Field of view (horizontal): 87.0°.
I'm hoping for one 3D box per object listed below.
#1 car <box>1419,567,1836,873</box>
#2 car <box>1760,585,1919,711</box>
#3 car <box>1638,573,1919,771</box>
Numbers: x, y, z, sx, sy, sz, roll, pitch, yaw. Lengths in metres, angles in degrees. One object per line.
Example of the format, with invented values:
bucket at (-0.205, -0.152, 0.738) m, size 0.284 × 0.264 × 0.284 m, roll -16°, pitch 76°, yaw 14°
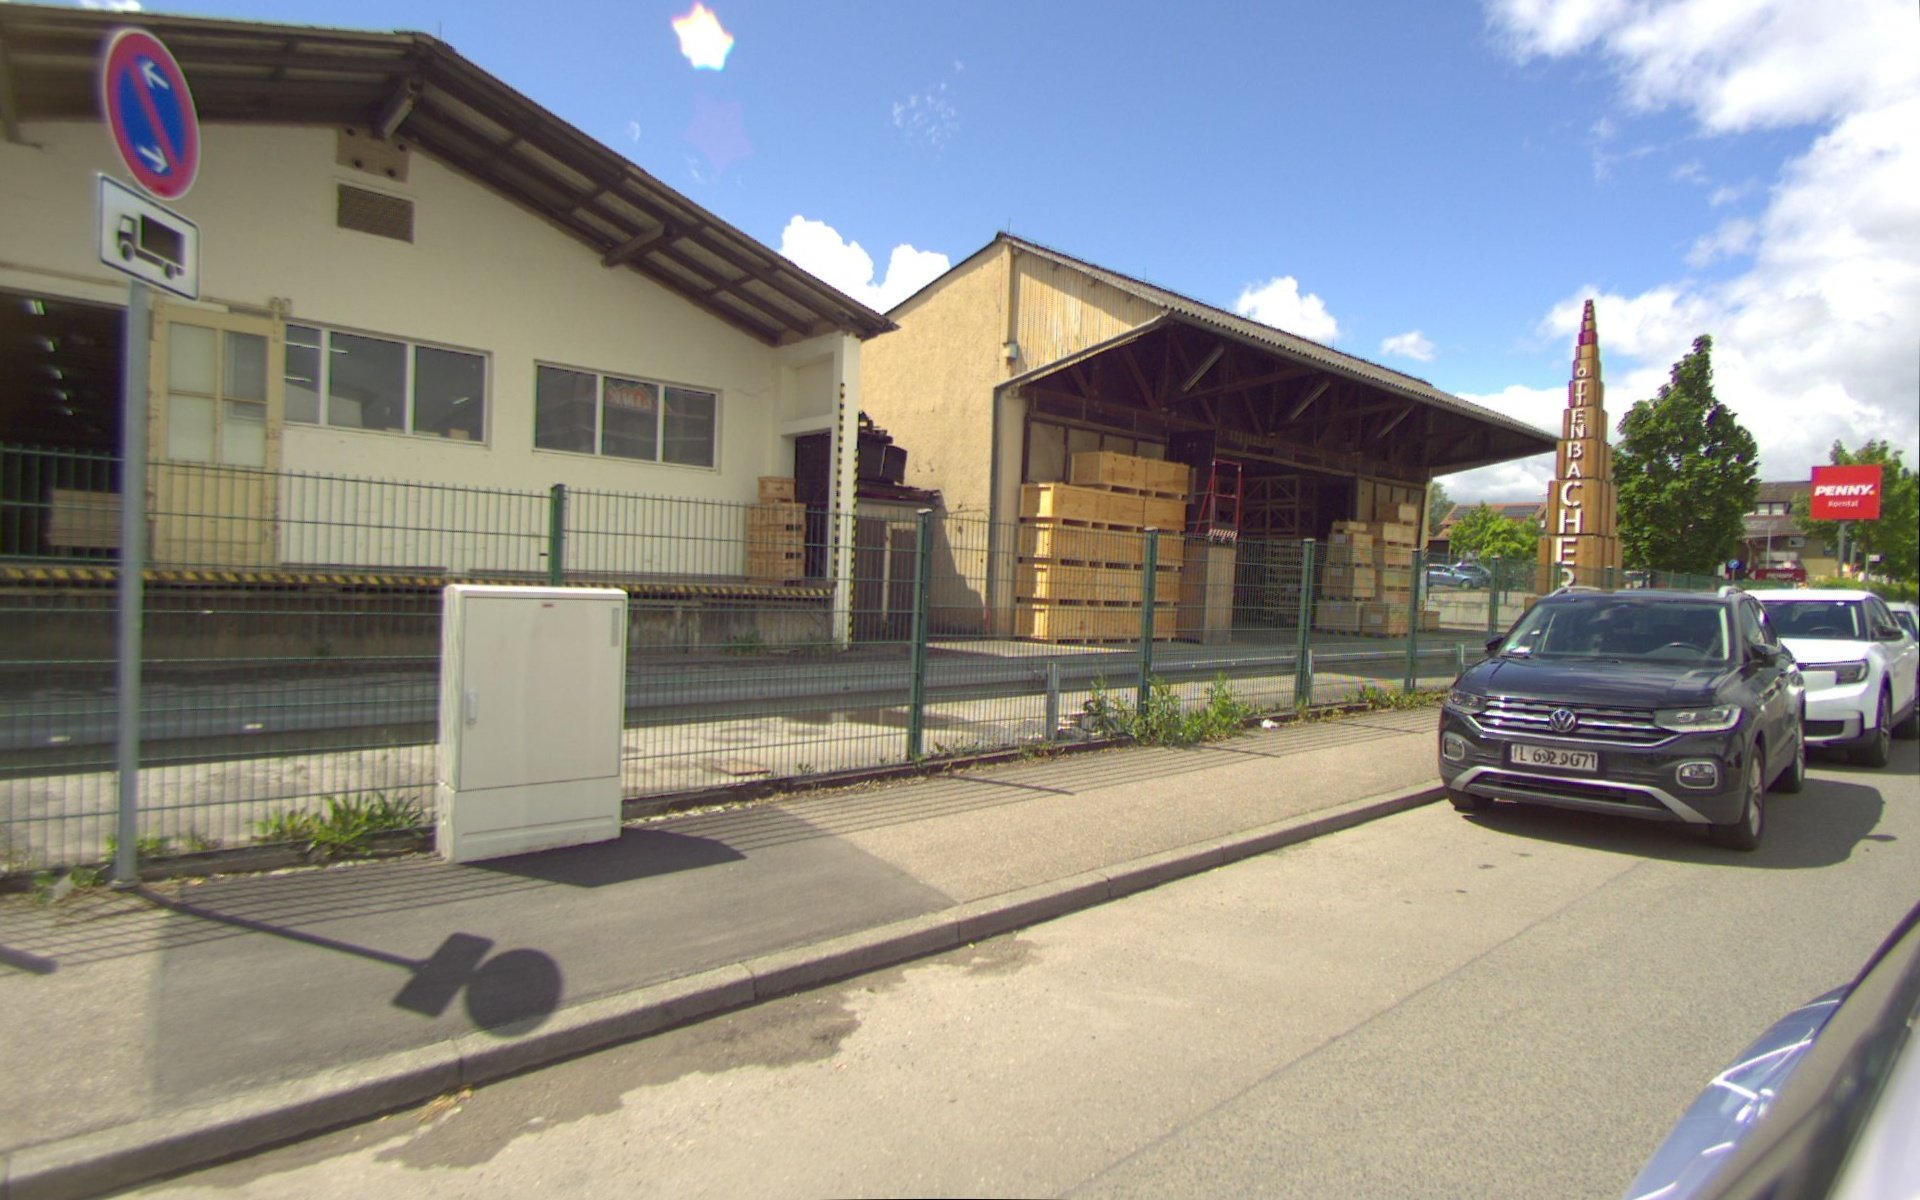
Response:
car at (4.989, 0.601, 7.314) m, size 4.019 × 1.571 × 1.691 m, roll 0°, pitch 2°, yaw -45°
car at (12.805, 0.584, 14.146) m, size 4.288 × 1.467 × 1.795 m, roll 0°, pitch 3°, yaw -42°
car at (8.767, 0.580, 10.478) m, size 4.494 × 1.571 × 1.795 m, roll 0°, pitch 3°, yaw -42°
